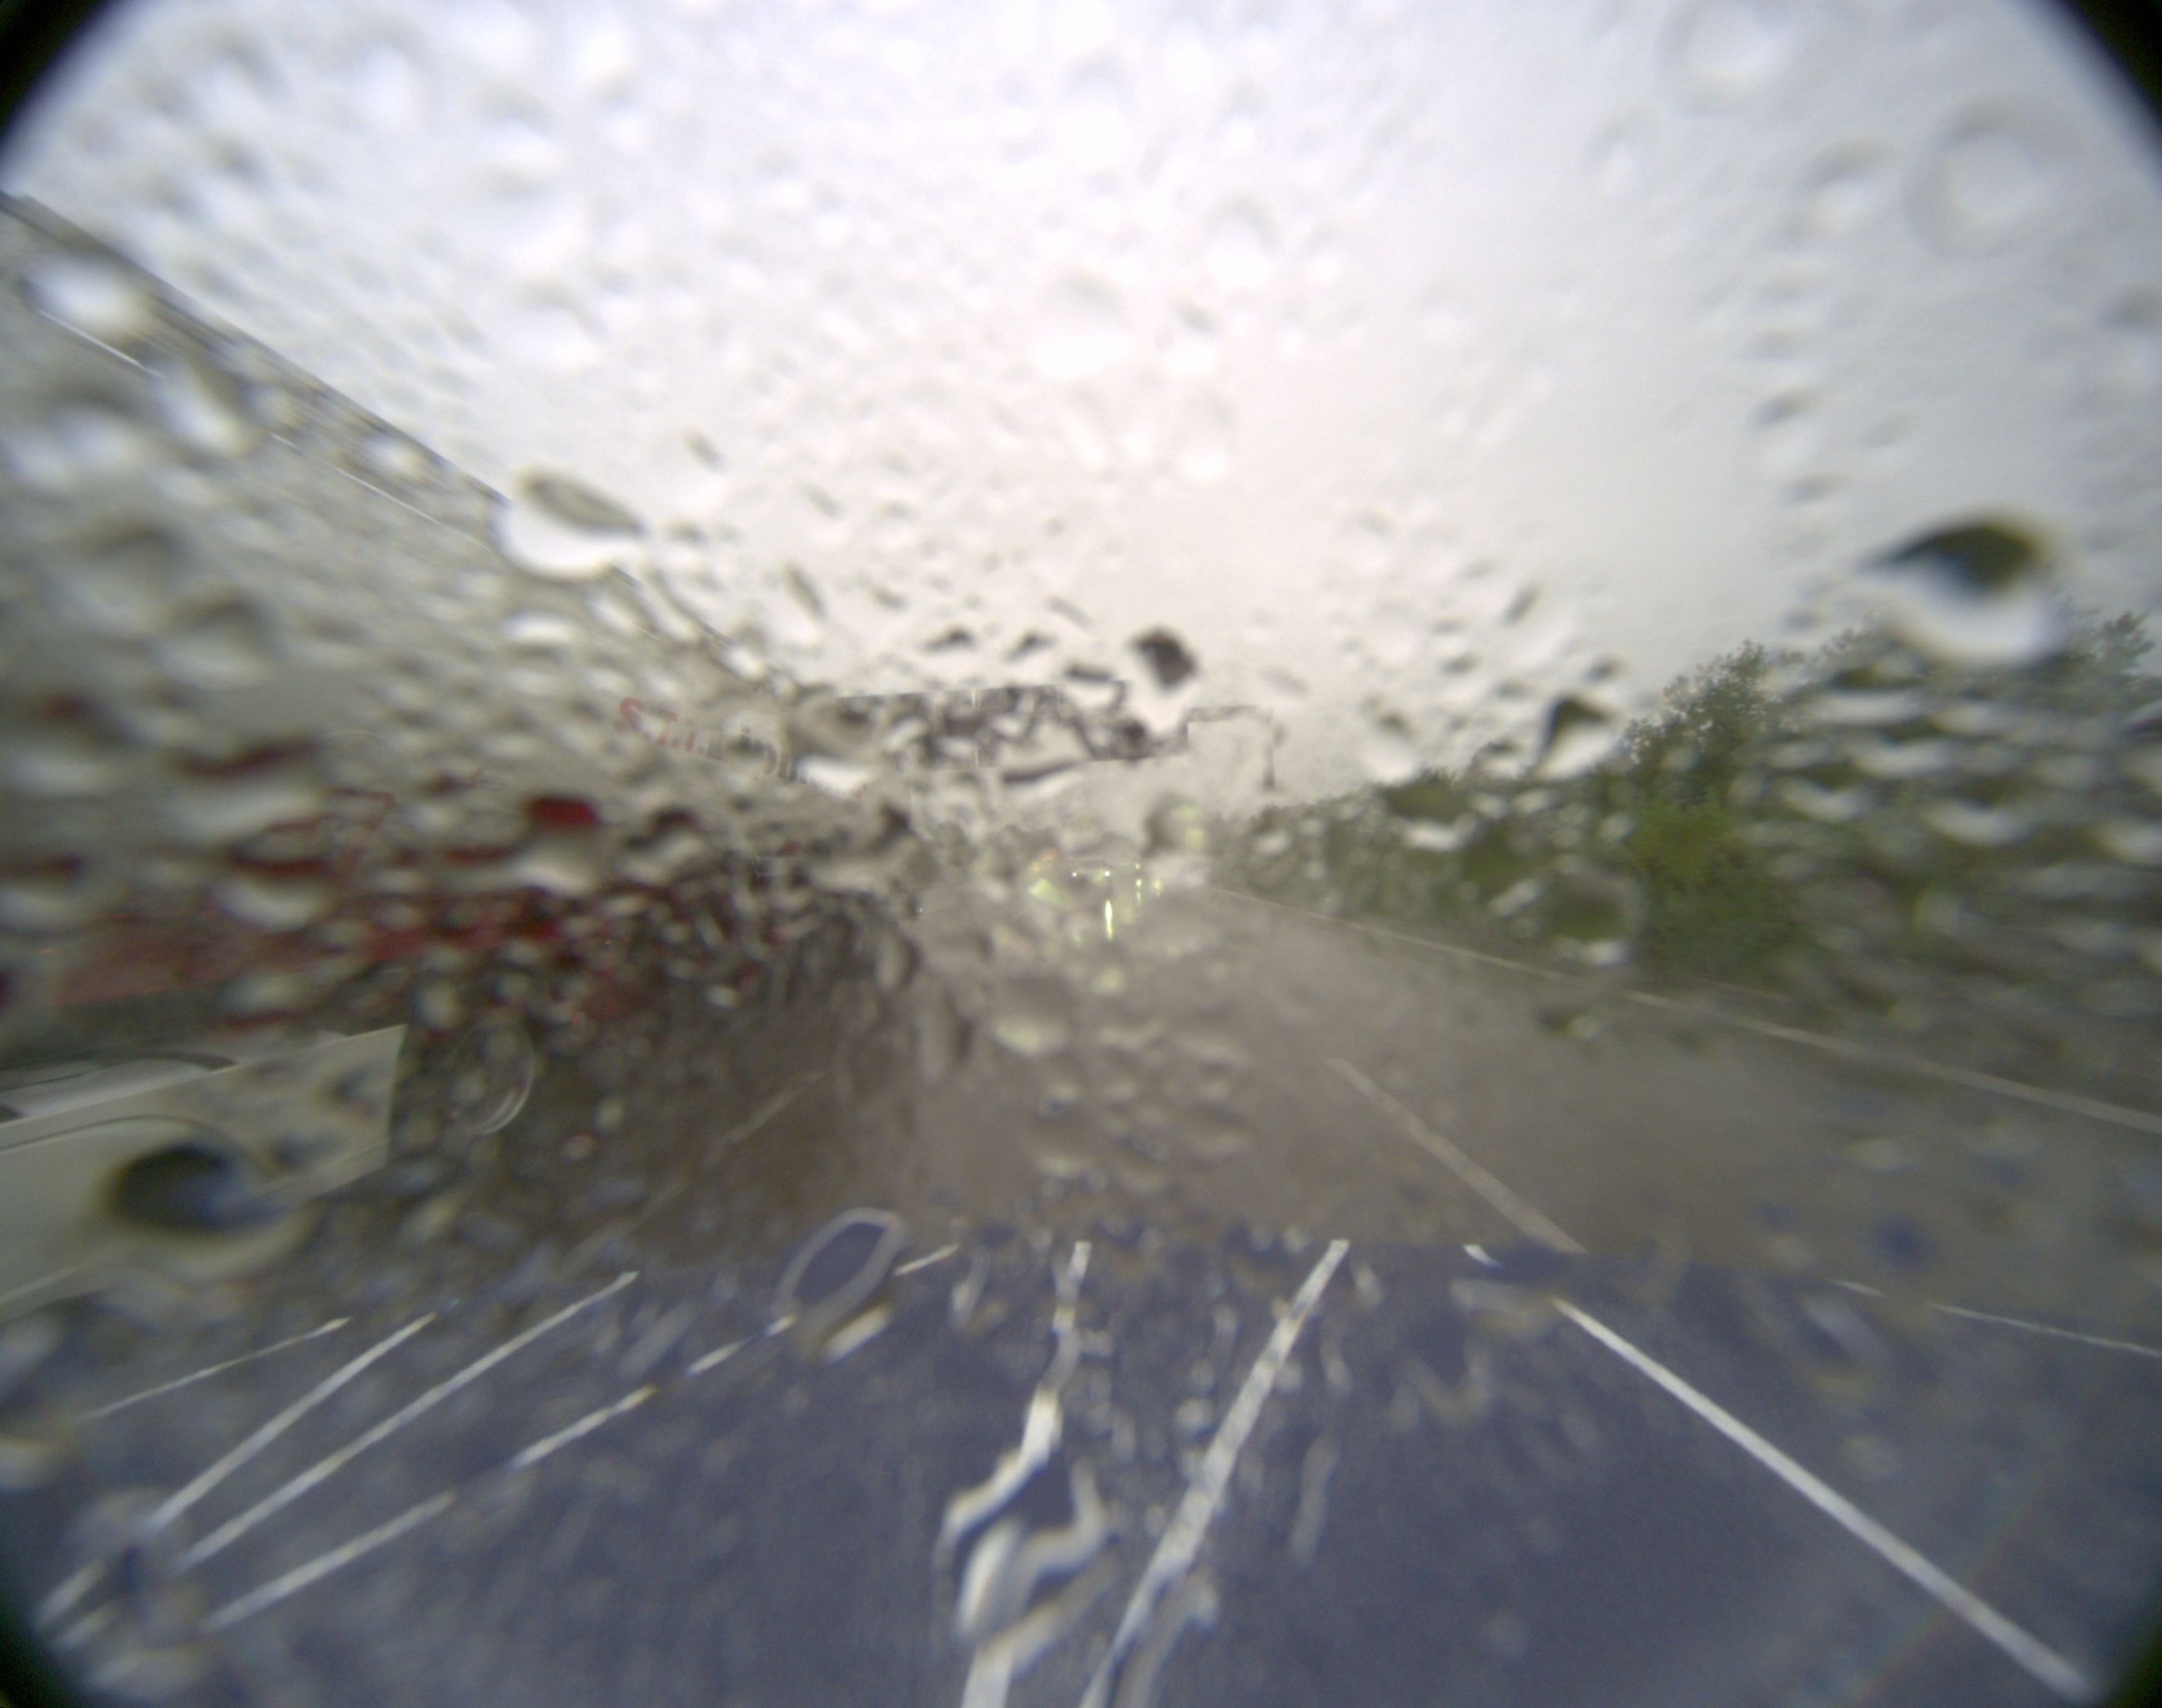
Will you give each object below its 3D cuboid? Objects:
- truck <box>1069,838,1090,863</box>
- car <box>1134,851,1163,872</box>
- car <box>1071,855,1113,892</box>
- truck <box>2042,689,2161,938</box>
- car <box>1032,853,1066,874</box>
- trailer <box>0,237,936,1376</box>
[{"bbox_3d":[-0.274,-0.594,130.873,2.754,4.054,6.485,-2,0,6],"label":"truck"},{"bbox_3d":[5.338,0.566,60.464,1.900,1.533,4.090,-2,0,0],"label":"car"},{"bbox_3d":[0.547,0.850,35.158,1.751,1.545,4.090,-2,0,2],"label":"car"},{"bbox_3d":[17.081,-0.613,9.316,2.989,3.578,5.999,-2,0,0],"label":"truck"},{"bbox_3d":[-2.807,0.834,68.403,2.463,1.735,5.720,-2,0,3],"label":"car"},{"bbox_3d":[-4.409,-0.118,8.288,3.196,3.648,11.666,-2,0,1],"label":"trailer"}]
